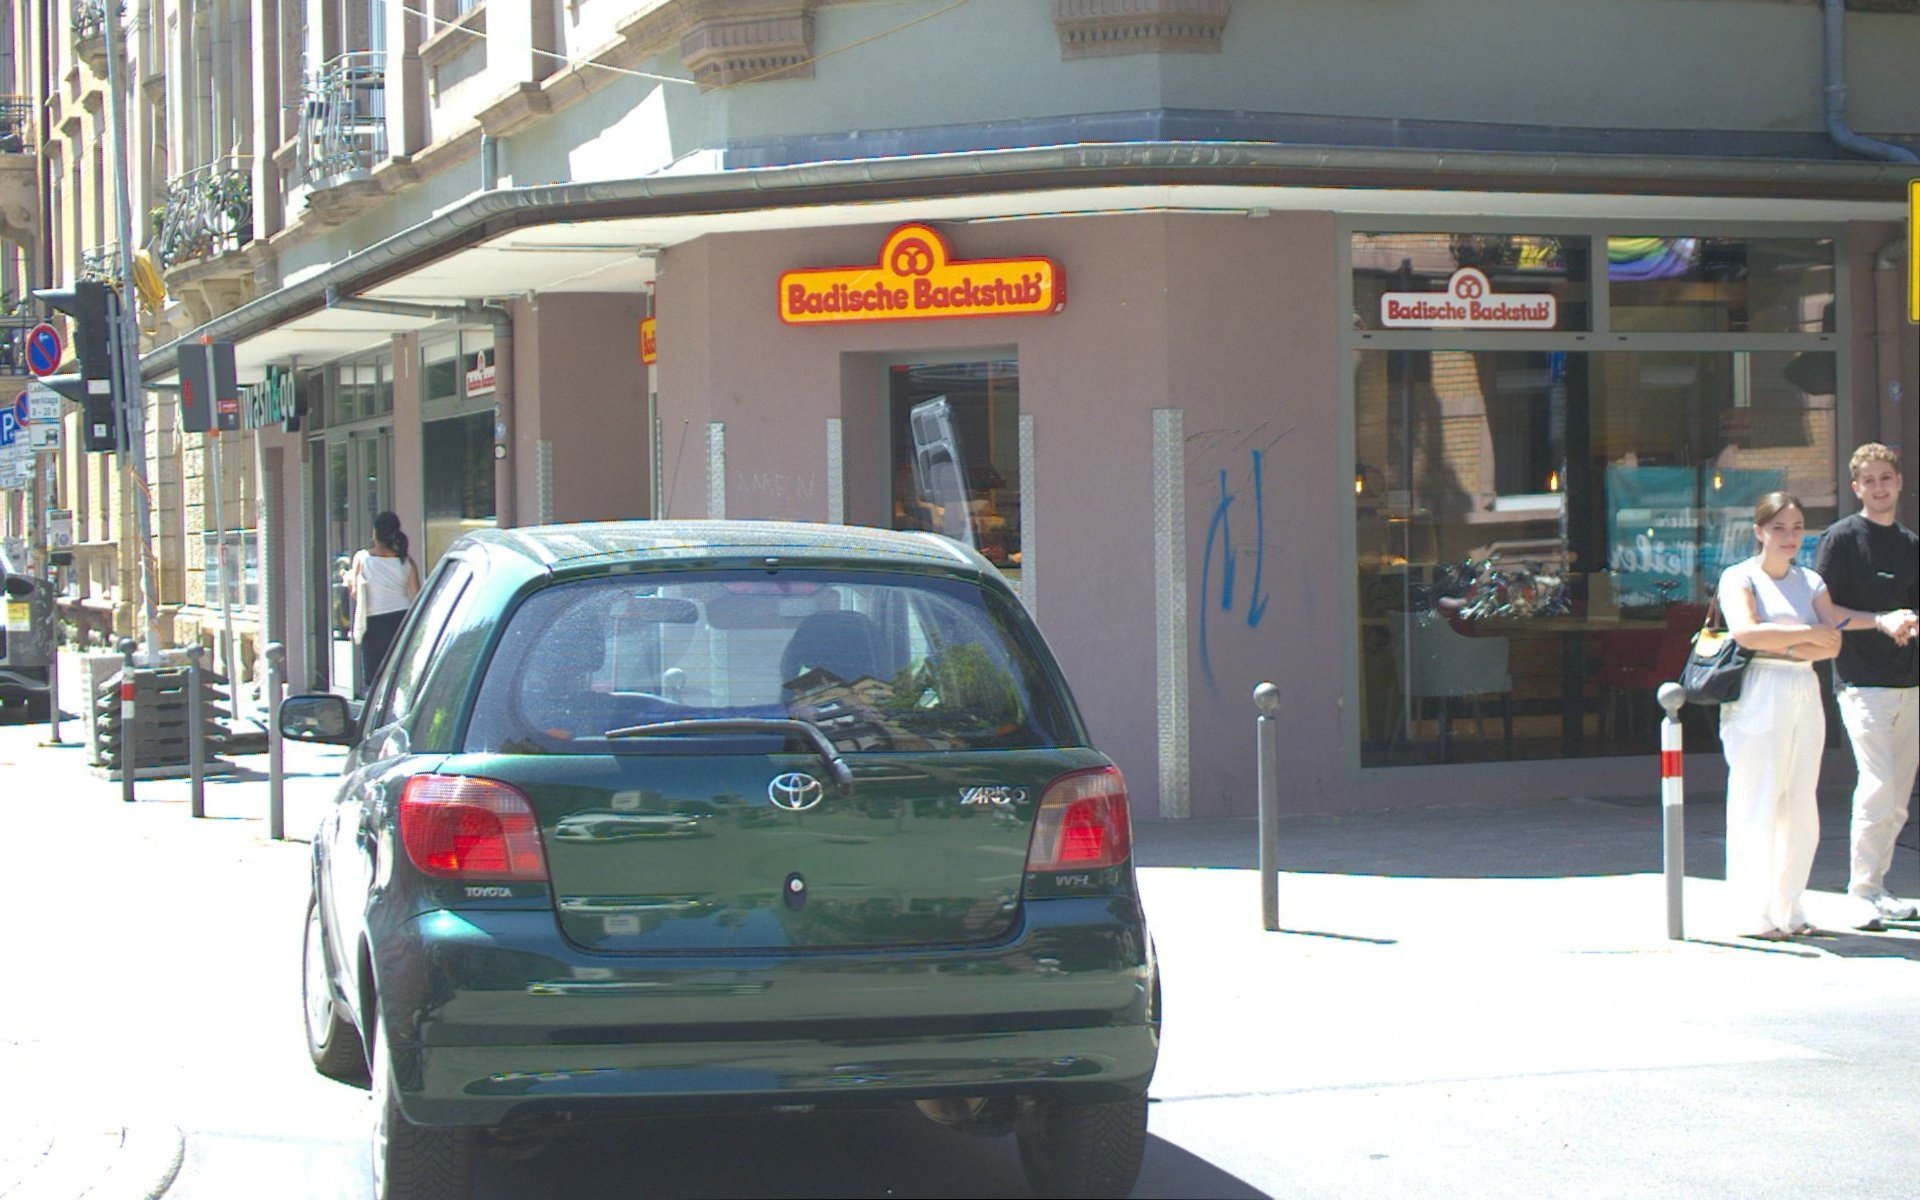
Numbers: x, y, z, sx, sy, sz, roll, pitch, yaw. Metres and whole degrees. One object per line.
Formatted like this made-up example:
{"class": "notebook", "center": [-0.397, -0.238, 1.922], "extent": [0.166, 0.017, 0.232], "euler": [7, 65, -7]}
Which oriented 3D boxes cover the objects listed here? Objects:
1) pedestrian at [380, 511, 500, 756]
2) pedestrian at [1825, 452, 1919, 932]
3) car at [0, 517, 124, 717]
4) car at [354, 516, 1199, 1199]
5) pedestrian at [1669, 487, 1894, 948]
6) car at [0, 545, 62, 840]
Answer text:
{"class": "pedestrian", "center": [-3.538, 0.214, 23.360], "extent": [0.641, 1.618, 0.804], "euler": [-1, 1, -19]}
{"class": "pedestrian", "center": [3.696, 0.330, 13.143], "extent": [0.575, 1.762, 0.471], "euler": [-4, 5, -27]}
{"class": "car", "center": [-9.042, 0.142, 32.253], "extent": [1.871, 1.707, 4.505], "euler": [-3, 2, -18]}
{"class": "car", "center": [-0.618, 0.560, 8.263], "extent": [1.613, 1.480, 3.242], "euler": [0, 1, -10]}
{"class": "pedestrian", "center": [3.075, 0.422, 12.857], "extent": [0.701, 1.639, 0.423], "euler": [-4, 5, -27]}
{"class": "car", "center": [-5.983, 0.469, 19.130], "extent": [1.522, 1.516, 3.265], "euler": [-1, 1, -21]}
